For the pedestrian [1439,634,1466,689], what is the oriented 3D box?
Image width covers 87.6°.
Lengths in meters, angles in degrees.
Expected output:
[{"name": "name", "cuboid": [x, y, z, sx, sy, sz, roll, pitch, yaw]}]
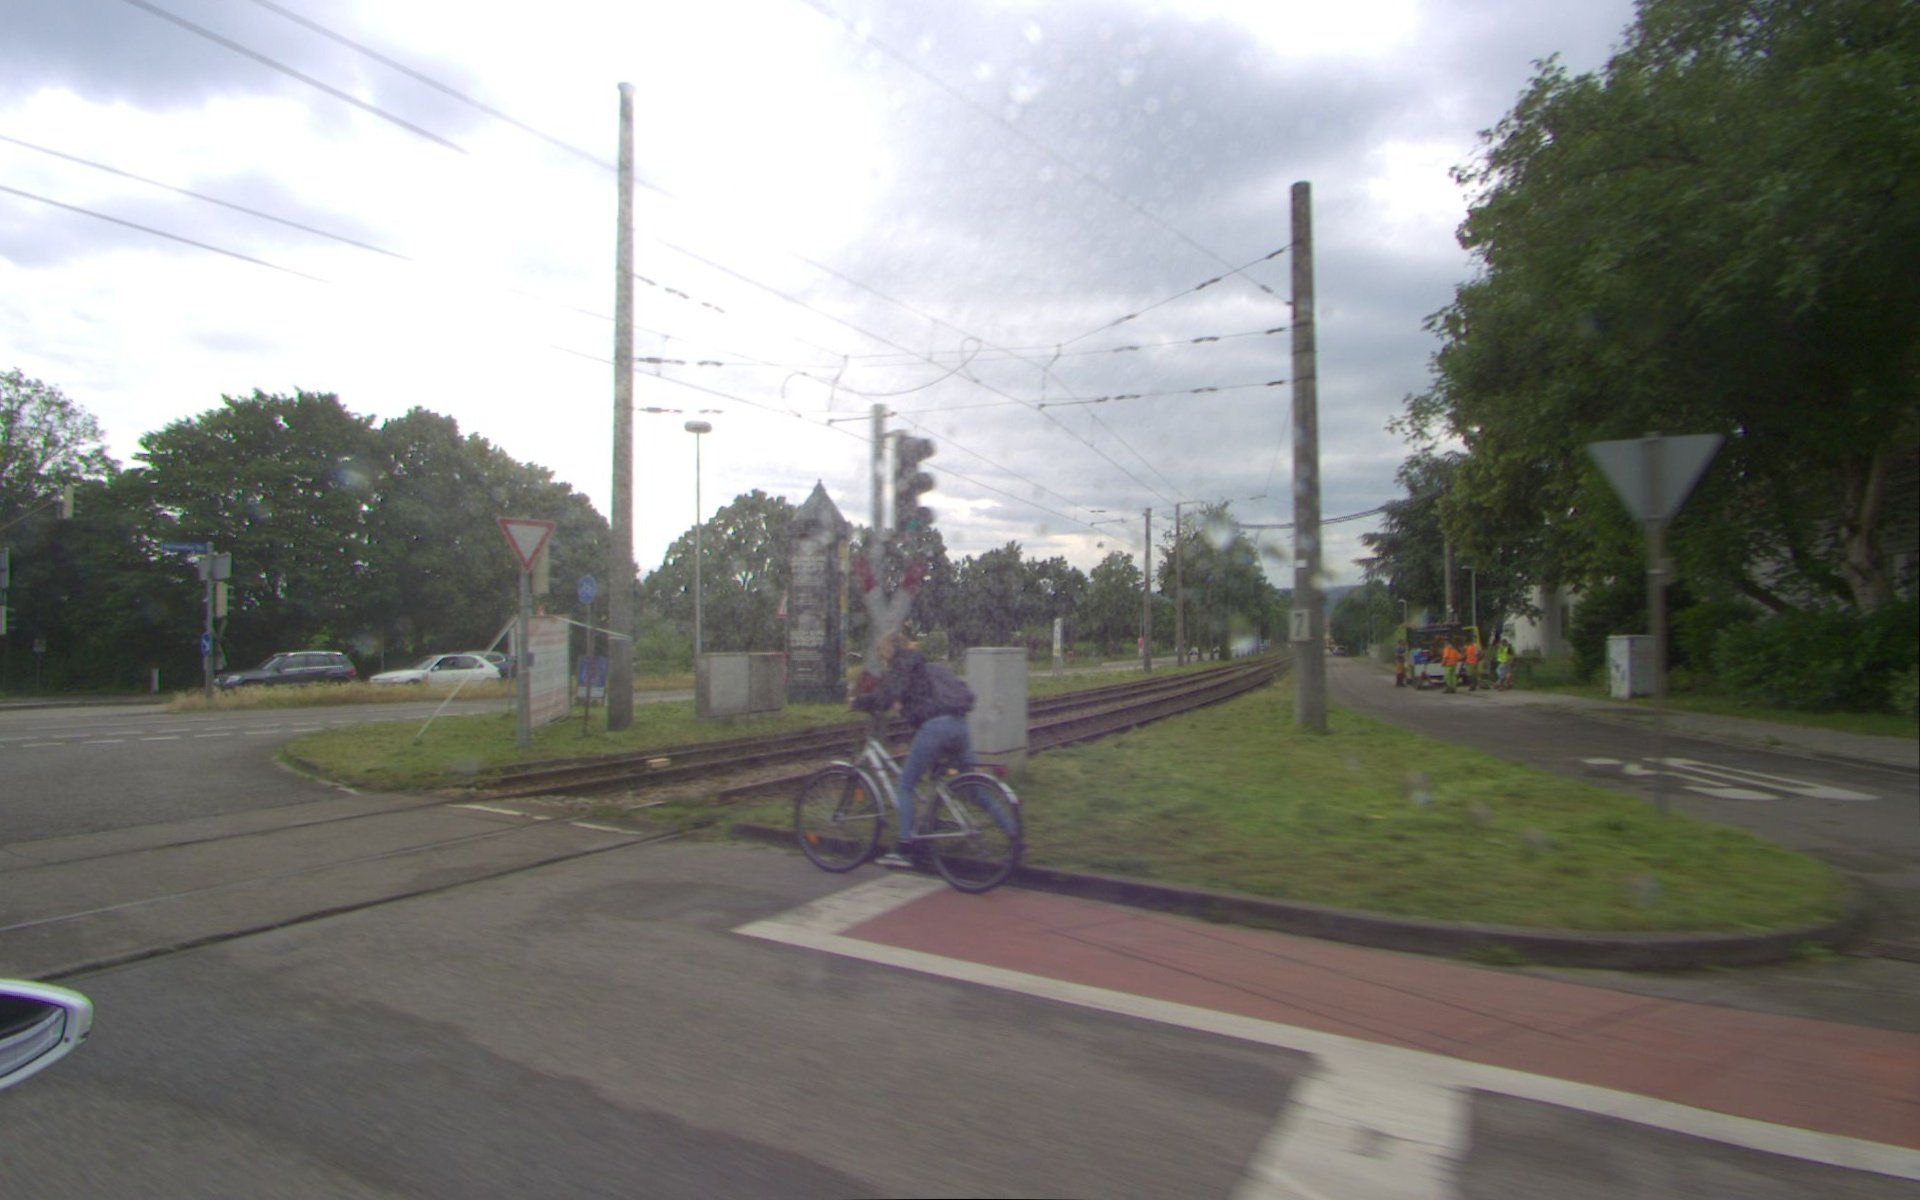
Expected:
[{"name": "pedestrian", "cuboid": [16.027, 2.001, 32.574, 0.624, 1.784, 0.576, -1, -2, 11]}]

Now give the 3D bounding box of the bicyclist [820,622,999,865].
[{"name": "bicyclist", "cuboid": [-0.321, 0.904, 6.520, 0.947, 1.441, 0.621, -2, -6, 31]}]

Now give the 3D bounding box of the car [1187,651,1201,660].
[{"name": "car", "cuboid": [41.138, 9.783, 176.221, 1.634, 1.549, 3.880, -1, -3, 25]}]

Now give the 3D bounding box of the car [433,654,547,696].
[{"name": "car", "cuboid": [-19.463, 3.083, 41.635, 1.851, 1.638, 3.983, -2, -3, 30]}]

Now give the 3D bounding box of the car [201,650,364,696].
[{"name": "car", "cuboid": [-23.966, 2.546, 35.587, 1.820, 1.522, 4.458, -2, -3, 32]}]

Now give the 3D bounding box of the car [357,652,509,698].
[{"name": "car", "cuboid": [-17.046, 2.389, 32.599, 1.624, 1.374, 4.131, -2, -3, 32]}]

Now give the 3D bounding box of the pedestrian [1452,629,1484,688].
[{"name": "pedestrian", "cuboid": [16.524, 1.900, 32.552, 0.862, 1.878, 0.676, -1, -2, 34]}]

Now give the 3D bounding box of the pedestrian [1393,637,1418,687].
[{"name": "pedestrian", "cuboid": [17.029, 2.370, 38.271, 0.757, 1.892, 0.604, -1, -2, 17]}]

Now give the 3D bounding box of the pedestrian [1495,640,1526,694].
[{"name": "pedestrian", "cuboid": [19.203, 2.328, 34.925, 0.598, 1.863, 0.712, 0, -2, -13]}]

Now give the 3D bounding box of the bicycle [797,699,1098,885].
[{"name": "bicycle", "cuboid": [-0.134, 1.145, 6.310, 2.001, 0.993, 0.382, -3, -3, 32]}]
